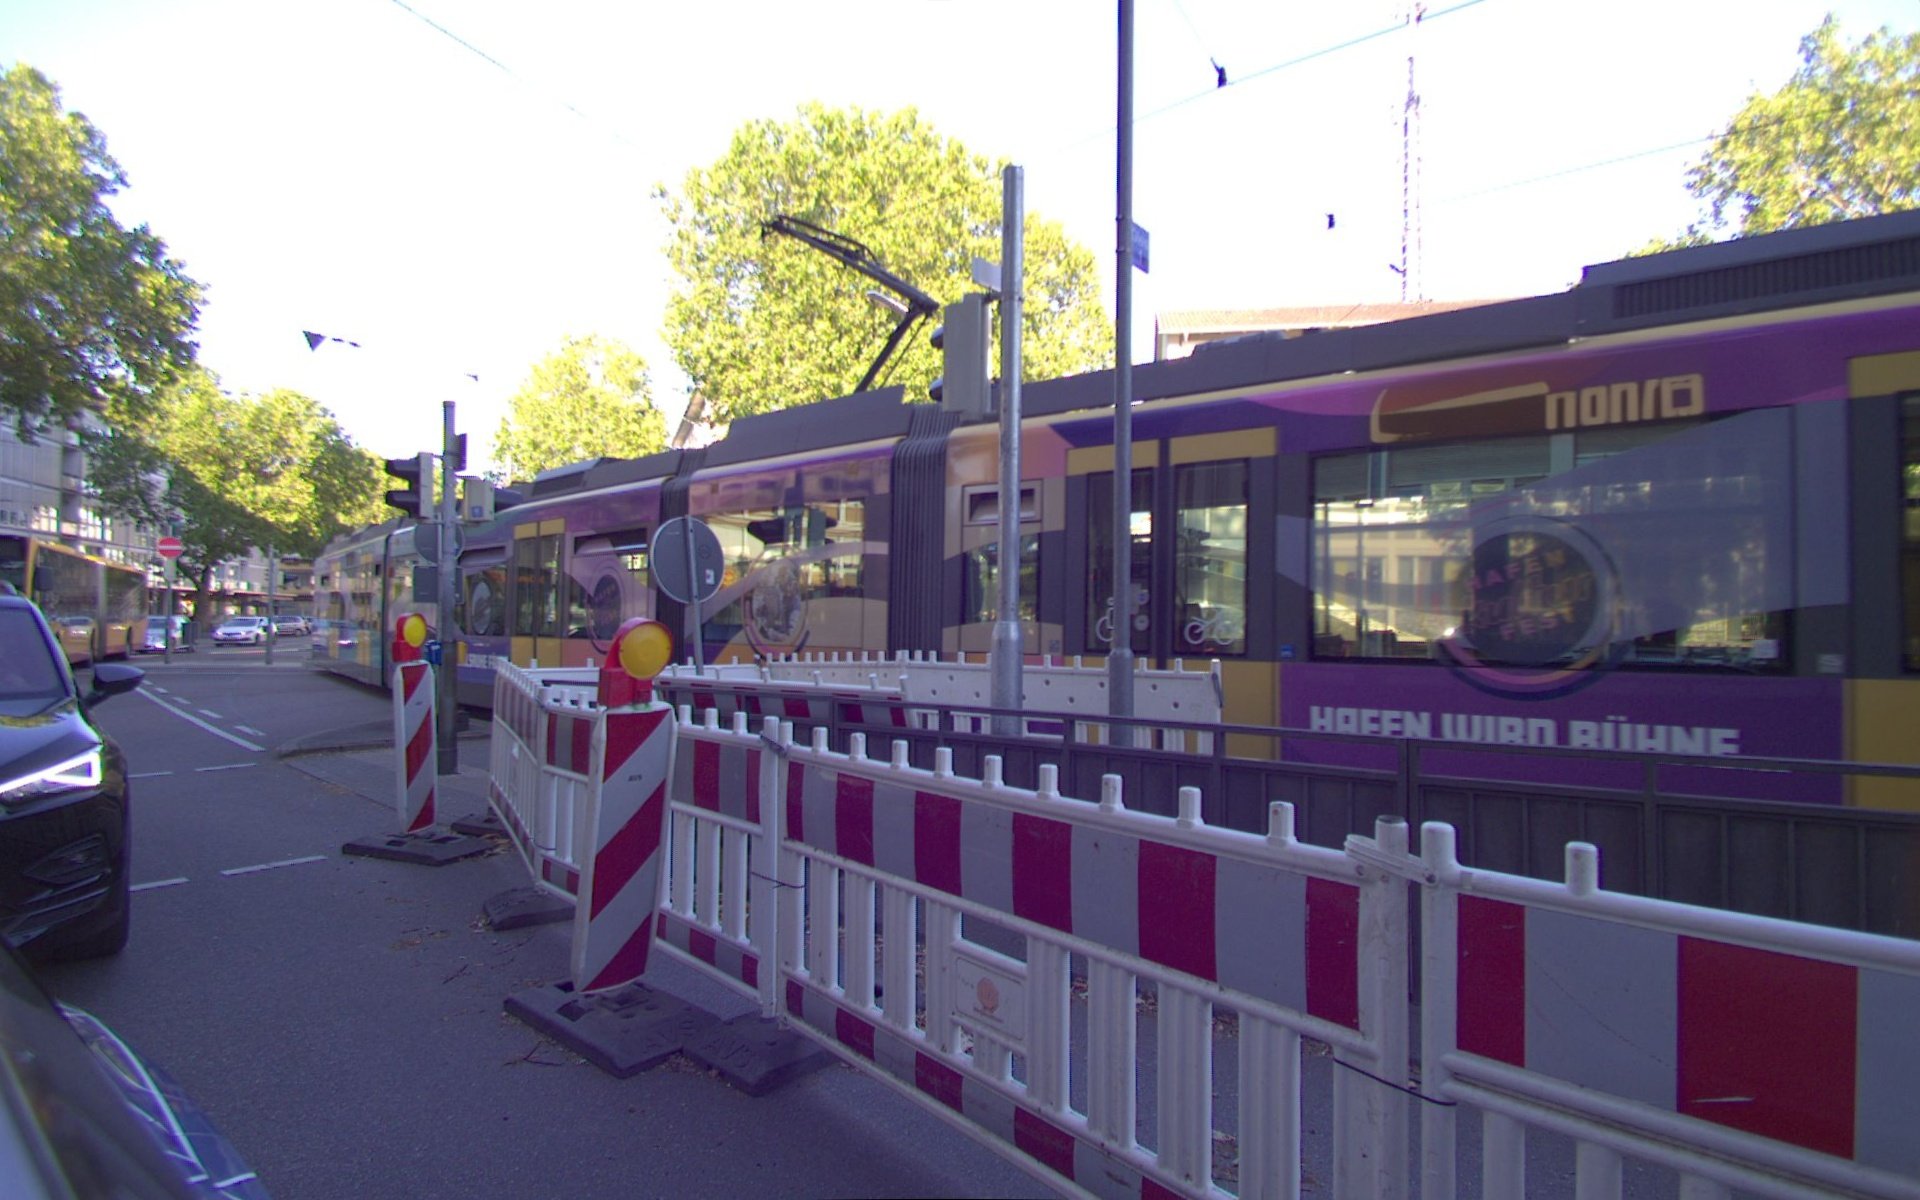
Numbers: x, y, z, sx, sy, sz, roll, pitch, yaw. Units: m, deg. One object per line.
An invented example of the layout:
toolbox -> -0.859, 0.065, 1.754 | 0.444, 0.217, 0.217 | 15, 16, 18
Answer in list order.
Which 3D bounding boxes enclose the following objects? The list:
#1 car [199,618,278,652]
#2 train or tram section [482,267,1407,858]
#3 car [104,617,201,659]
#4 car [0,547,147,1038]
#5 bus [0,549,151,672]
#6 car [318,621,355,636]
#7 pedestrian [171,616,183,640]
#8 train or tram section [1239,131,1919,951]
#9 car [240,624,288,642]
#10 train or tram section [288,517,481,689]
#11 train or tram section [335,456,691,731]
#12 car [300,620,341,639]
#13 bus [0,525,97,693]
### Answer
car -> -35.951, 1.730, 50.588 | 1.923, 1.562, 4.771 | 1, -1, -19
train or tram section -> -1.214, -0.155, 10.474 | 10.332, 3.514, 2.806 | -1, -1, 41
car -> -31.421, 1.439, 39.531 | 1.880, 1.486, 4.433 | 1, -1, -24
car -> -5.164, 0.688, 4.591 | 4.300, 1.670, 1.823 | -1, -1, 45
bus -> -26.553, 0.361, 30.091 | 2.708, 3.127, 9.524 | 1, -2, -32
car -> -54.927, 2.485, 89.165 | 1.201, 1.290, 2.592 | 0, -1, 43
pedestrian -> -56.246, 2.021, 72.692 | 0.508, 1.669, 0.572 | 1, -1, -22
train or tram section -> 6.624, -0.266, 4.134 | 10.323, 3.514, 2.789 | -1, -1, 38
car -> -50.901, 2.405, 74.020 | 1.198, 1.226, 2.599 | 0, -1, 34
train or tram section -> -14.909, 0.139, 25.678 | 2.799, 3.514, 10.360 | 1, -1, -38
train or tram section -> -8.371, 0.000, 17.778 | 2.835, 3.514, 10.354 | 1, -1, -41
car -> -52.362, 2.415, 82.912 | 1.201, 1.484, 2.592 | 0, -1, 43
bus -> -21.308, 0.232, 22.303 | 2.710, 3.127, 9.519 | 1, -2, -36
